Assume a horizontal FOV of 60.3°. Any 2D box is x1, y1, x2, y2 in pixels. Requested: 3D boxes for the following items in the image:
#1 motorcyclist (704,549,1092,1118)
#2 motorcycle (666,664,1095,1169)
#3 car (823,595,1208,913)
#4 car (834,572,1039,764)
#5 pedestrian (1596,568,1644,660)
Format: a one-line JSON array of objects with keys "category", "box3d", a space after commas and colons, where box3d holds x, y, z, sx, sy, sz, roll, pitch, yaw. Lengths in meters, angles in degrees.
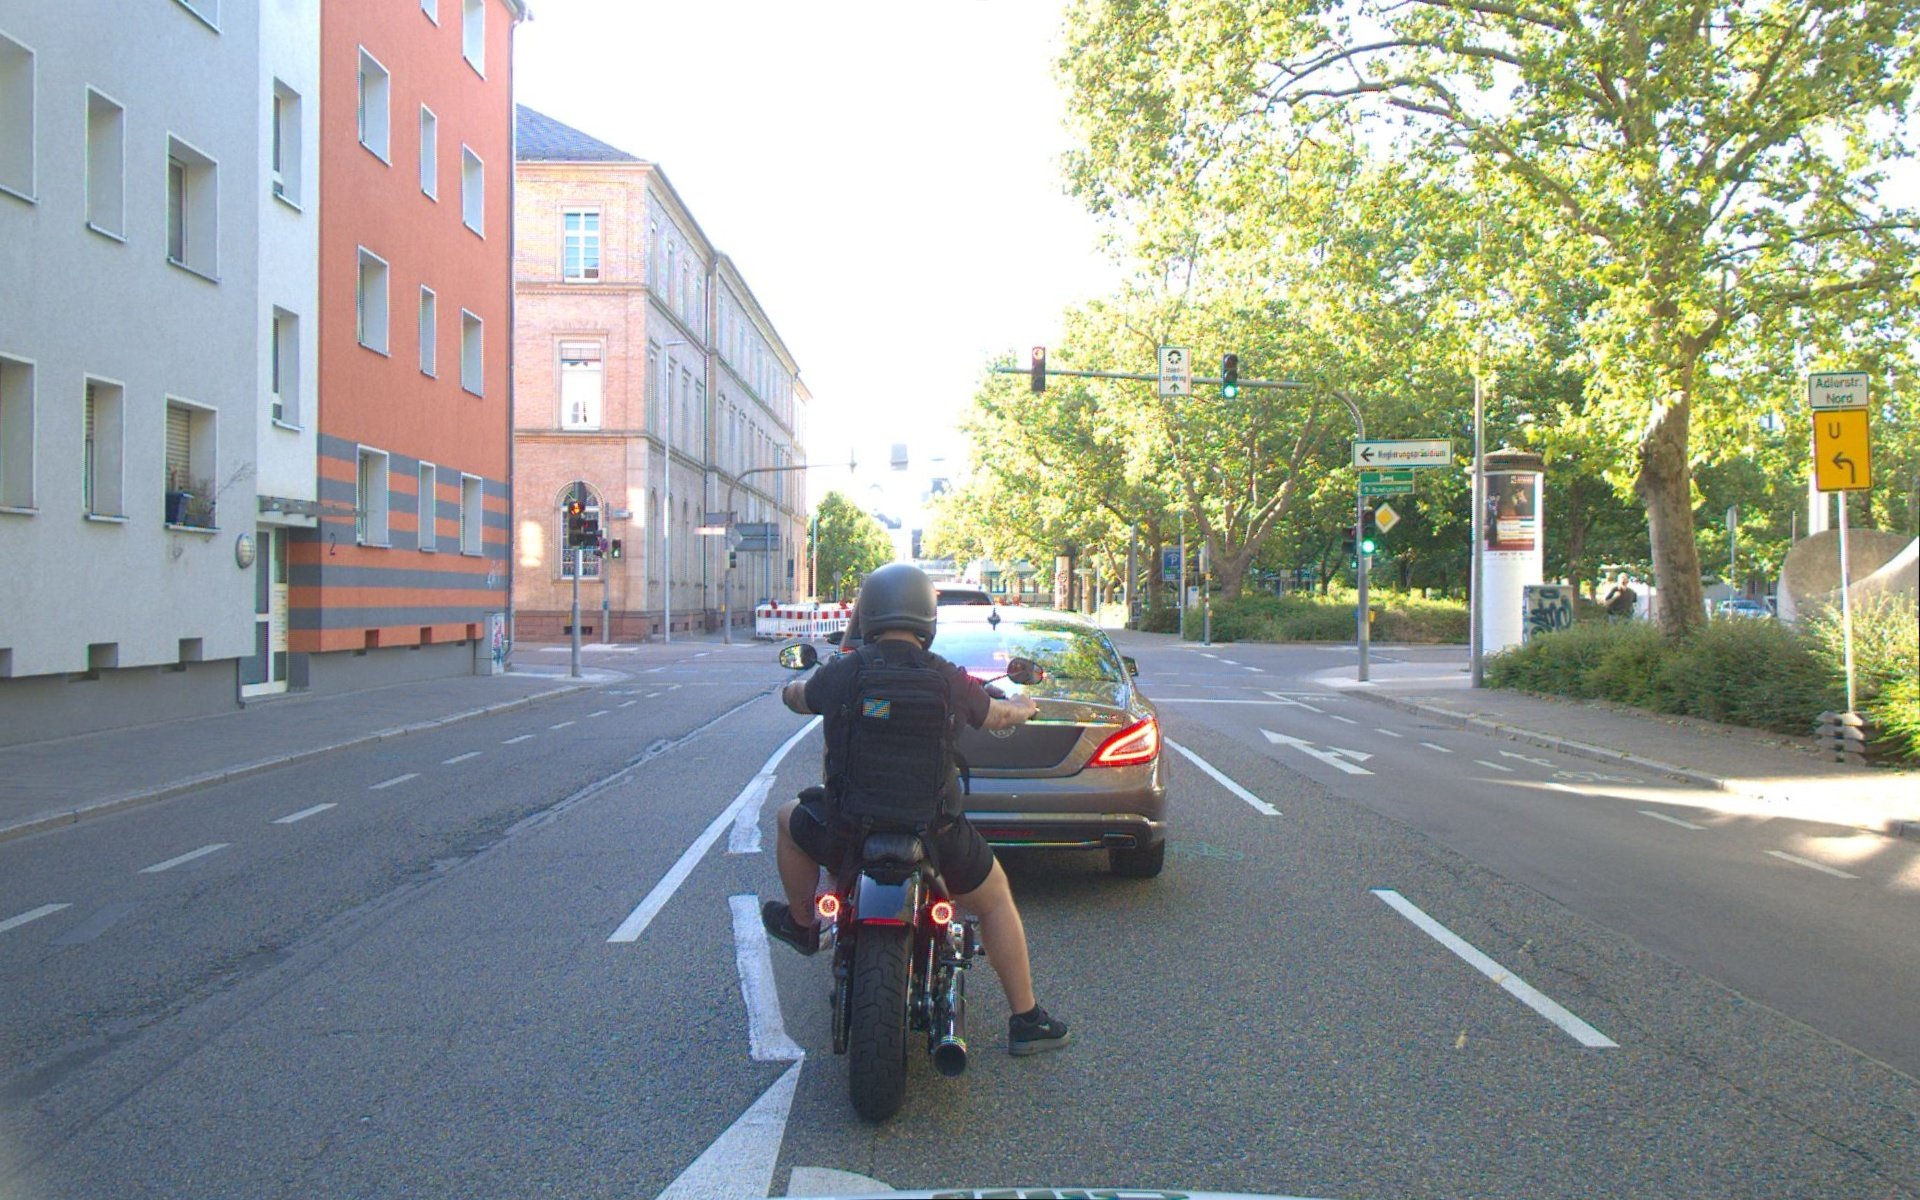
[{"category": "motorcyclist", "box3d": [-0.139, 0.662, 5.267, 1.076, 1.593, 1.072, 1, 0, 5]}, {"category": "motorcycle", "box3d": [-0.126, 0.873, 5.488, 1.094, 1.228, 2.213, 1, 0, 5]}, {"category": "car", "box3d": [0.236, 0.732, 9.660, 1.785, 1.462, 3.805, 1, 0, -1]}, {"category": "car", "box3d": [-0.238, 0.625, 16.932, 1.825, 1.707, 3.999, 1, 0, -1]}, {"category": "pedestrian", "box3d": [13.246, 0.272, 33.194, 0.720, 1.809, 0.730, 1, -1, 7]}]
